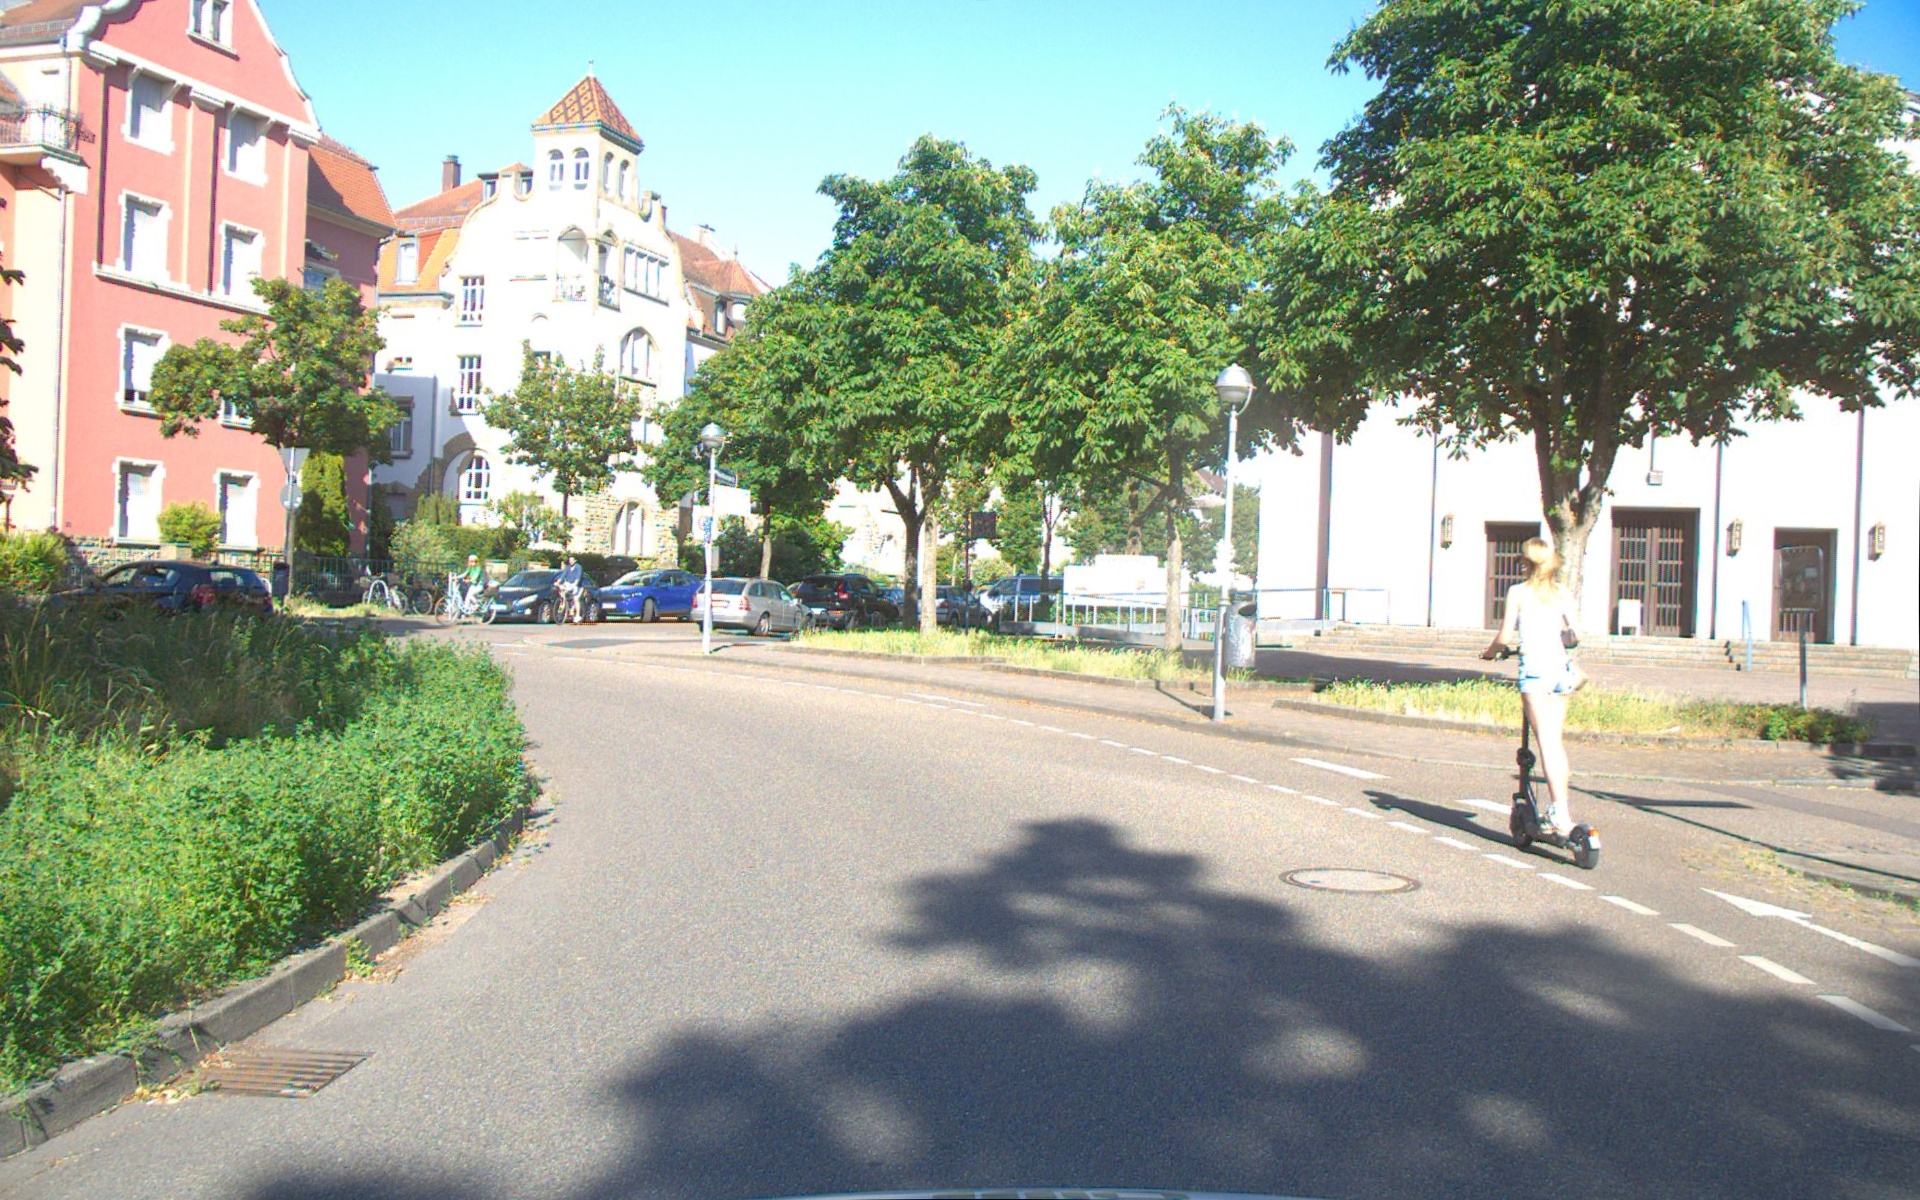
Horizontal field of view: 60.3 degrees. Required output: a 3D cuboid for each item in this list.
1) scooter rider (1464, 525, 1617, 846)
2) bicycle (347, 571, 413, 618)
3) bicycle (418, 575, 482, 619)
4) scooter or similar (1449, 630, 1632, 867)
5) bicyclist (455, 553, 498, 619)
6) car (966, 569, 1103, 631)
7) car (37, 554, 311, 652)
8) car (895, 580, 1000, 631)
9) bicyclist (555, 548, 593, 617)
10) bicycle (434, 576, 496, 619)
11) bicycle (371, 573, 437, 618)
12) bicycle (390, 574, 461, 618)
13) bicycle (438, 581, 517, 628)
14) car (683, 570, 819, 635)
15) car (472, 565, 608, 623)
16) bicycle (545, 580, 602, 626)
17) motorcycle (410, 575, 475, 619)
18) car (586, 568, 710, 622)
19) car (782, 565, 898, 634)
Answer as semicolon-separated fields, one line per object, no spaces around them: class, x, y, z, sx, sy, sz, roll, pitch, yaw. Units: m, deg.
scooter rider;3.499;0.499;10.009;0.611;1.864;0.631;2;0;-5
bicycle;-15.542;-0.149;44.316;1.686;1.134;0.546;4;1;21
bicycle;-14.545;-0.091;47.181;1.685;1.126;0.501;4;1;13
scooter or similar;3.483;0.863;10.010;0.618;1.305;1.105;2;0;-4
bicyclist;-11.901;-0.343;40.730;0.585;1.609;0.800;1;0;41
car;2.736;-0.011;60.851;4.664;2.036;1.811;3;0;16
car;-12.627;0.024;26.577;3.907;1.444;1.870;1;0;24
car;-0.338;0.184;53.455;1.768;1.499;4.337;3;0;23
bicyclist;-9.995;-0.446;42.880;0.630;1.744;0.723;2;0;18
bicycle;-14.305;-0.088;47.797;1.685;1.126;0.501;4;1;17
bicycle;-15.188;-0.124;45.200;1.686;1.134;0.546;4;1;21
bicycle;-14.841;-0.115;45.941;1.786;1.126;0.501;4;1;5
bicycle;-11.876;0.118;40.770;0.585;1.127;1.853;1;0;41
car;-5.123;0.067;41.162;1.766;1.440;4.341;3;0;15
car;-11.565;-0.148;45.891;1.765;1.509;4.342;0;0;15
bicycle;-9.990;0.084;42.797;0.630;1.127;1.718;2;0;18
motorcycle;-14.578;-0.086;46.598;1.685;1.126;0.501;4;1;13
car;-9.538;-0.135;50.948;1.766;1.589;4.400;0;0;20
car;-3.260;-0.007;45.755;1.766;1.758;4.341;3;0;15
